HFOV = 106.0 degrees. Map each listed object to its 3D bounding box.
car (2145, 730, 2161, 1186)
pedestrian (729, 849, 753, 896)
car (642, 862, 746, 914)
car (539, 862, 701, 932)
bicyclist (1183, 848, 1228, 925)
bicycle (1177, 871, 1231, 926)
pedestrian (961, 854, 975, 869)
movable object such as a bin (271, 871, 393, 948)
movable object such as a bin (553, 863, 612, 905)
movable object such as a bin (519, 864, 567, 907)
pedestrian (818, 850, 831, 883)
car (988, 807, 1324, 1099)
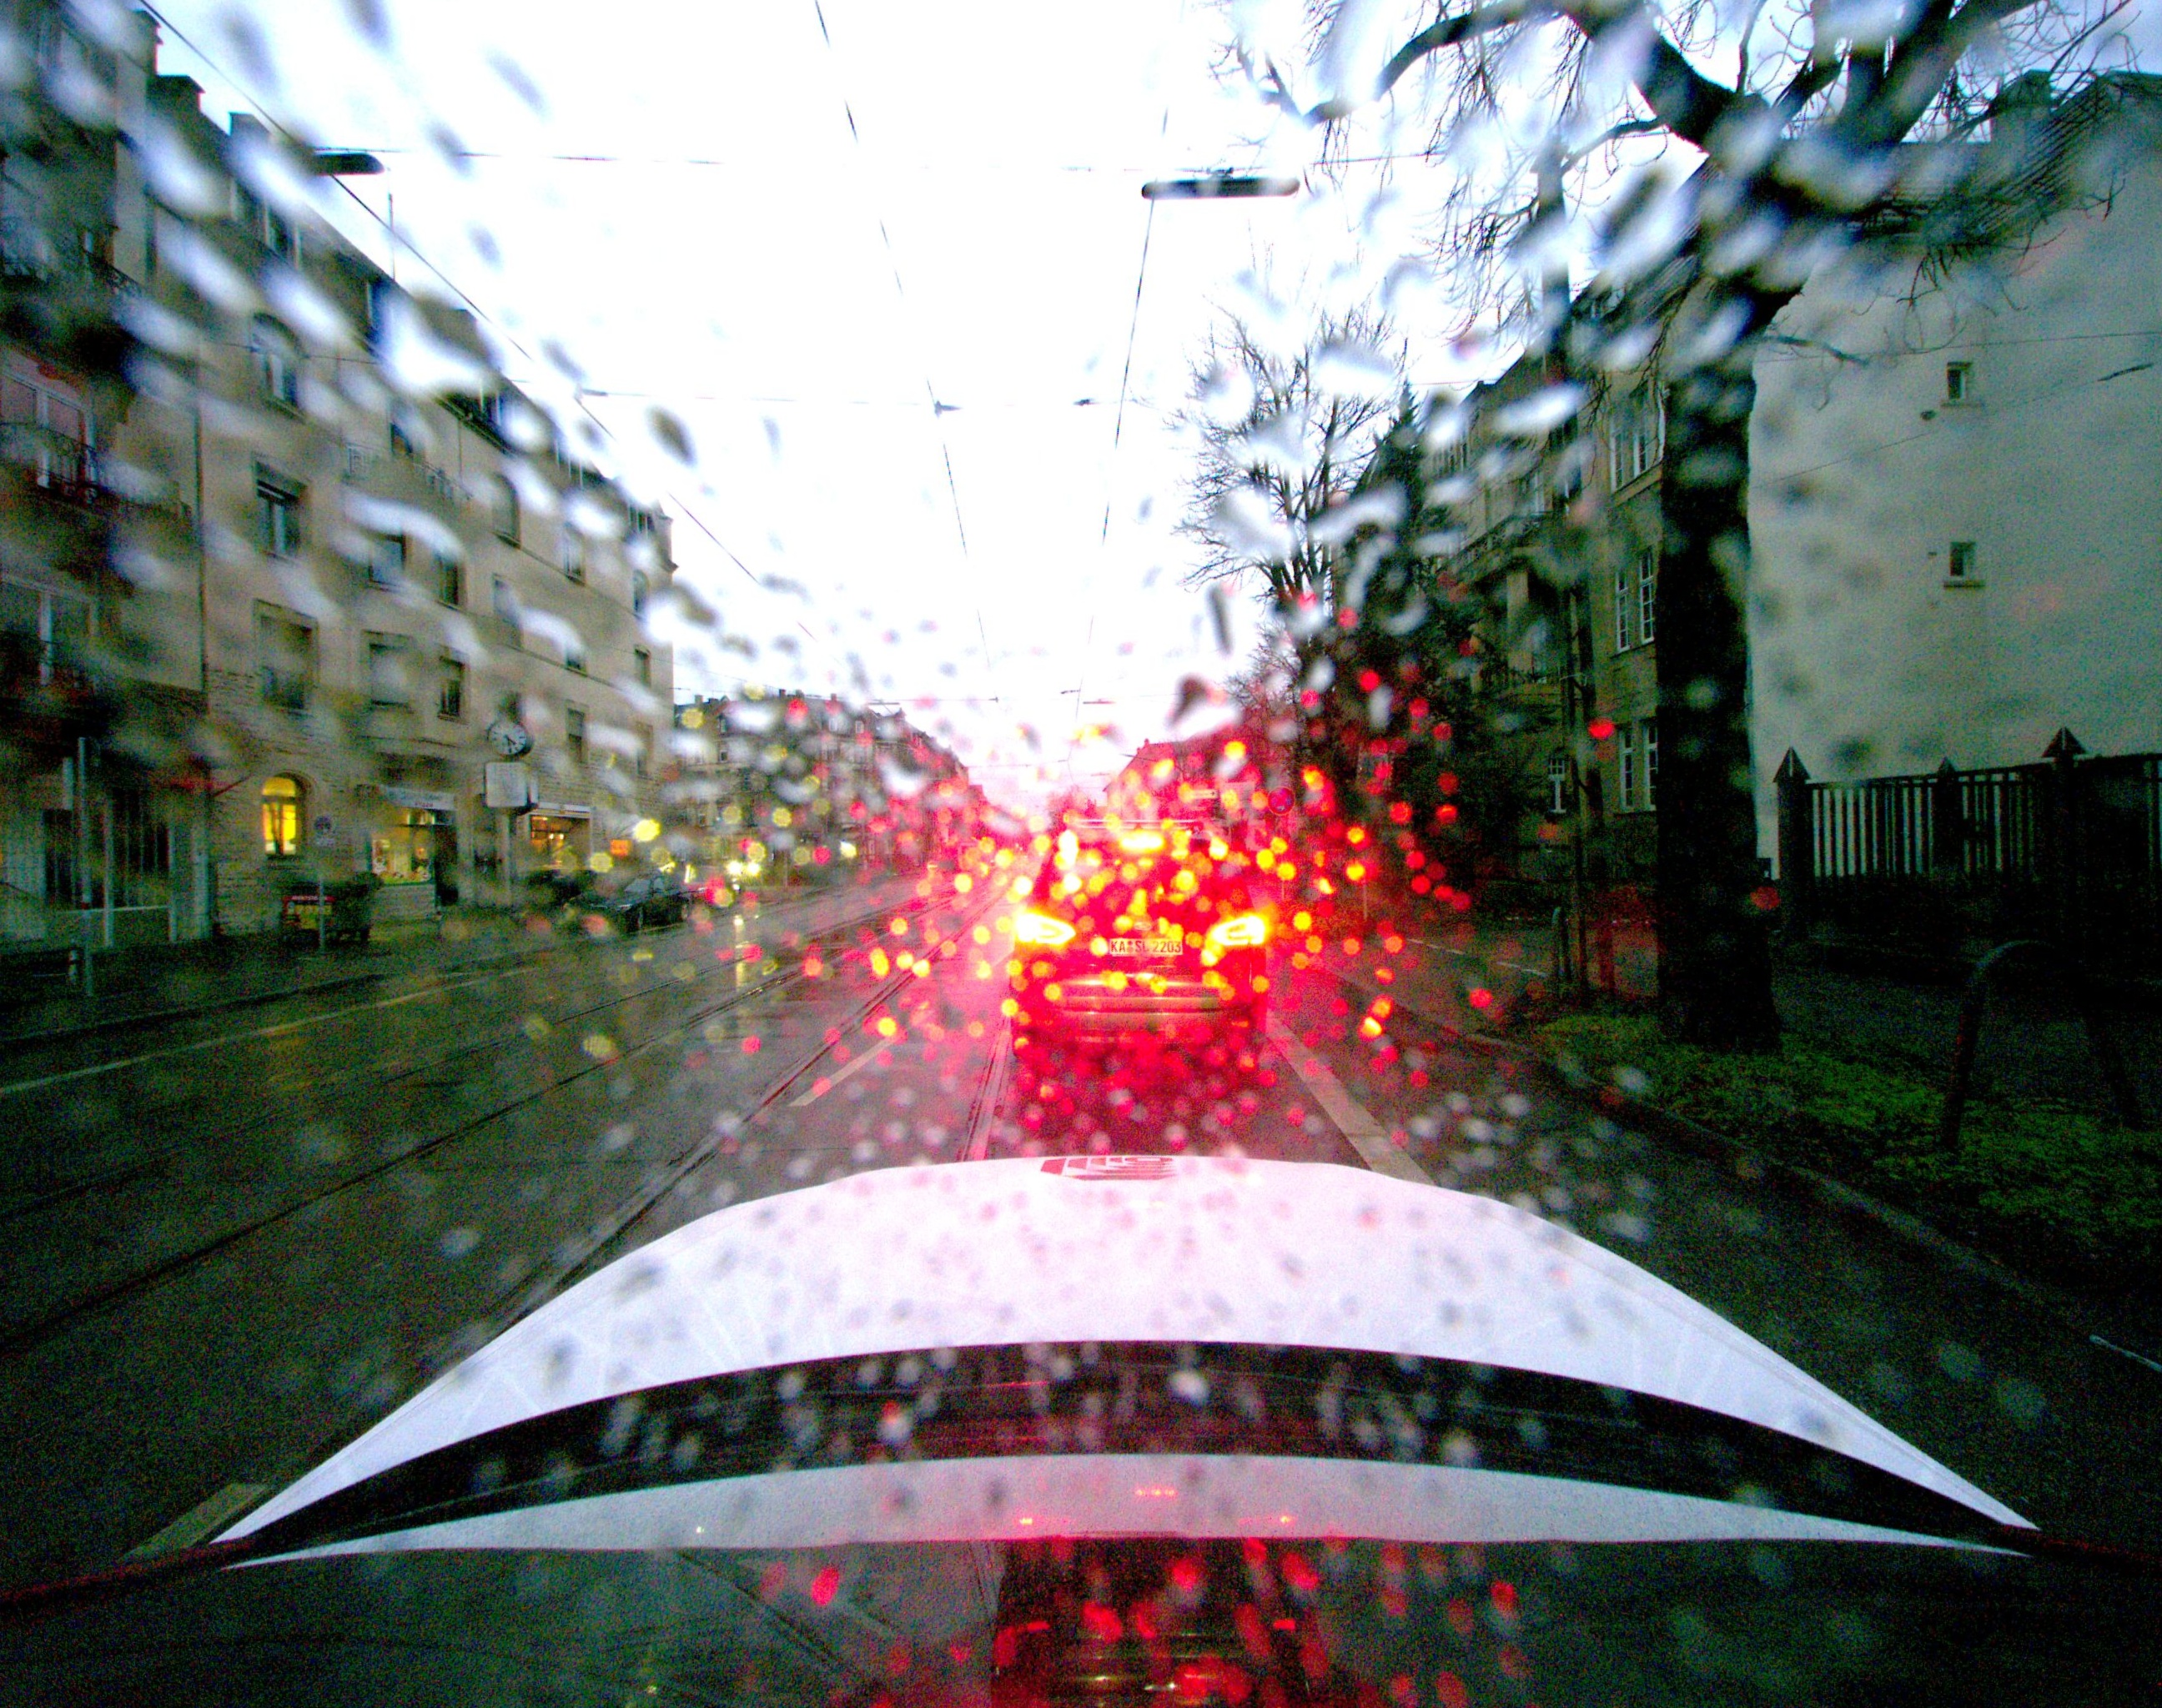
[{"bbox_3d":[4.440,0.528,0.109,2.025,1.875,4.959,-2,0,-2],"label":"car"},{"bbox_3d":[-14.983,0.815,35.914,0.748,2.014,0.652,-1,-1,34],"label":"pedestrian"},{"bbox_3d":[-13.385,1.120,28.424,2.035,1.551,4.022,2,0,-7],"label":"car"},{"bbox_3d":[-12.482,1.094,22.475,1.982,1.645,4.623,3,-1,-4],"label":"car"},{"bbox_3d":[2.802,0.713,18.437,0.716,1.662,1.054,2,0,-6],"label":"bicyclist"},{"bbox_3d":[2.773,0.991,18.604,0.716,1.112,1.937,3,0,-6],"label":"bicycle"},{"bbox_3d":[-9.525,0.633,68.433,1.044,1.200,0.884,-1,-1,-1],"label":"pedestrian"},{"bbox_3d":[-15.055,1.089,16.428,1.264,1.420,1.249,-1,0,-2],"label":"movable object such as a bin"},{"bbox_3d":[-17.348,1.032,28.385,1.290,1.367,1.251,-1,0,-2],"label":"movable object such as a bin"},{"bbox_3d":[-17.862,1.039,27.047,0.896,1.377,1.006,-1,0,-2],"label":"movable object such as a bin"},{"bbox_3d":[-15.898,0.754,50.482,0.707,2.013,0.656,-1,0,-21],"label":"pedestrian"},{"bbox_3d":[0.488,0.615,7.429,2.097,1.816,4.660,0,0,0],"label":"car"}]
